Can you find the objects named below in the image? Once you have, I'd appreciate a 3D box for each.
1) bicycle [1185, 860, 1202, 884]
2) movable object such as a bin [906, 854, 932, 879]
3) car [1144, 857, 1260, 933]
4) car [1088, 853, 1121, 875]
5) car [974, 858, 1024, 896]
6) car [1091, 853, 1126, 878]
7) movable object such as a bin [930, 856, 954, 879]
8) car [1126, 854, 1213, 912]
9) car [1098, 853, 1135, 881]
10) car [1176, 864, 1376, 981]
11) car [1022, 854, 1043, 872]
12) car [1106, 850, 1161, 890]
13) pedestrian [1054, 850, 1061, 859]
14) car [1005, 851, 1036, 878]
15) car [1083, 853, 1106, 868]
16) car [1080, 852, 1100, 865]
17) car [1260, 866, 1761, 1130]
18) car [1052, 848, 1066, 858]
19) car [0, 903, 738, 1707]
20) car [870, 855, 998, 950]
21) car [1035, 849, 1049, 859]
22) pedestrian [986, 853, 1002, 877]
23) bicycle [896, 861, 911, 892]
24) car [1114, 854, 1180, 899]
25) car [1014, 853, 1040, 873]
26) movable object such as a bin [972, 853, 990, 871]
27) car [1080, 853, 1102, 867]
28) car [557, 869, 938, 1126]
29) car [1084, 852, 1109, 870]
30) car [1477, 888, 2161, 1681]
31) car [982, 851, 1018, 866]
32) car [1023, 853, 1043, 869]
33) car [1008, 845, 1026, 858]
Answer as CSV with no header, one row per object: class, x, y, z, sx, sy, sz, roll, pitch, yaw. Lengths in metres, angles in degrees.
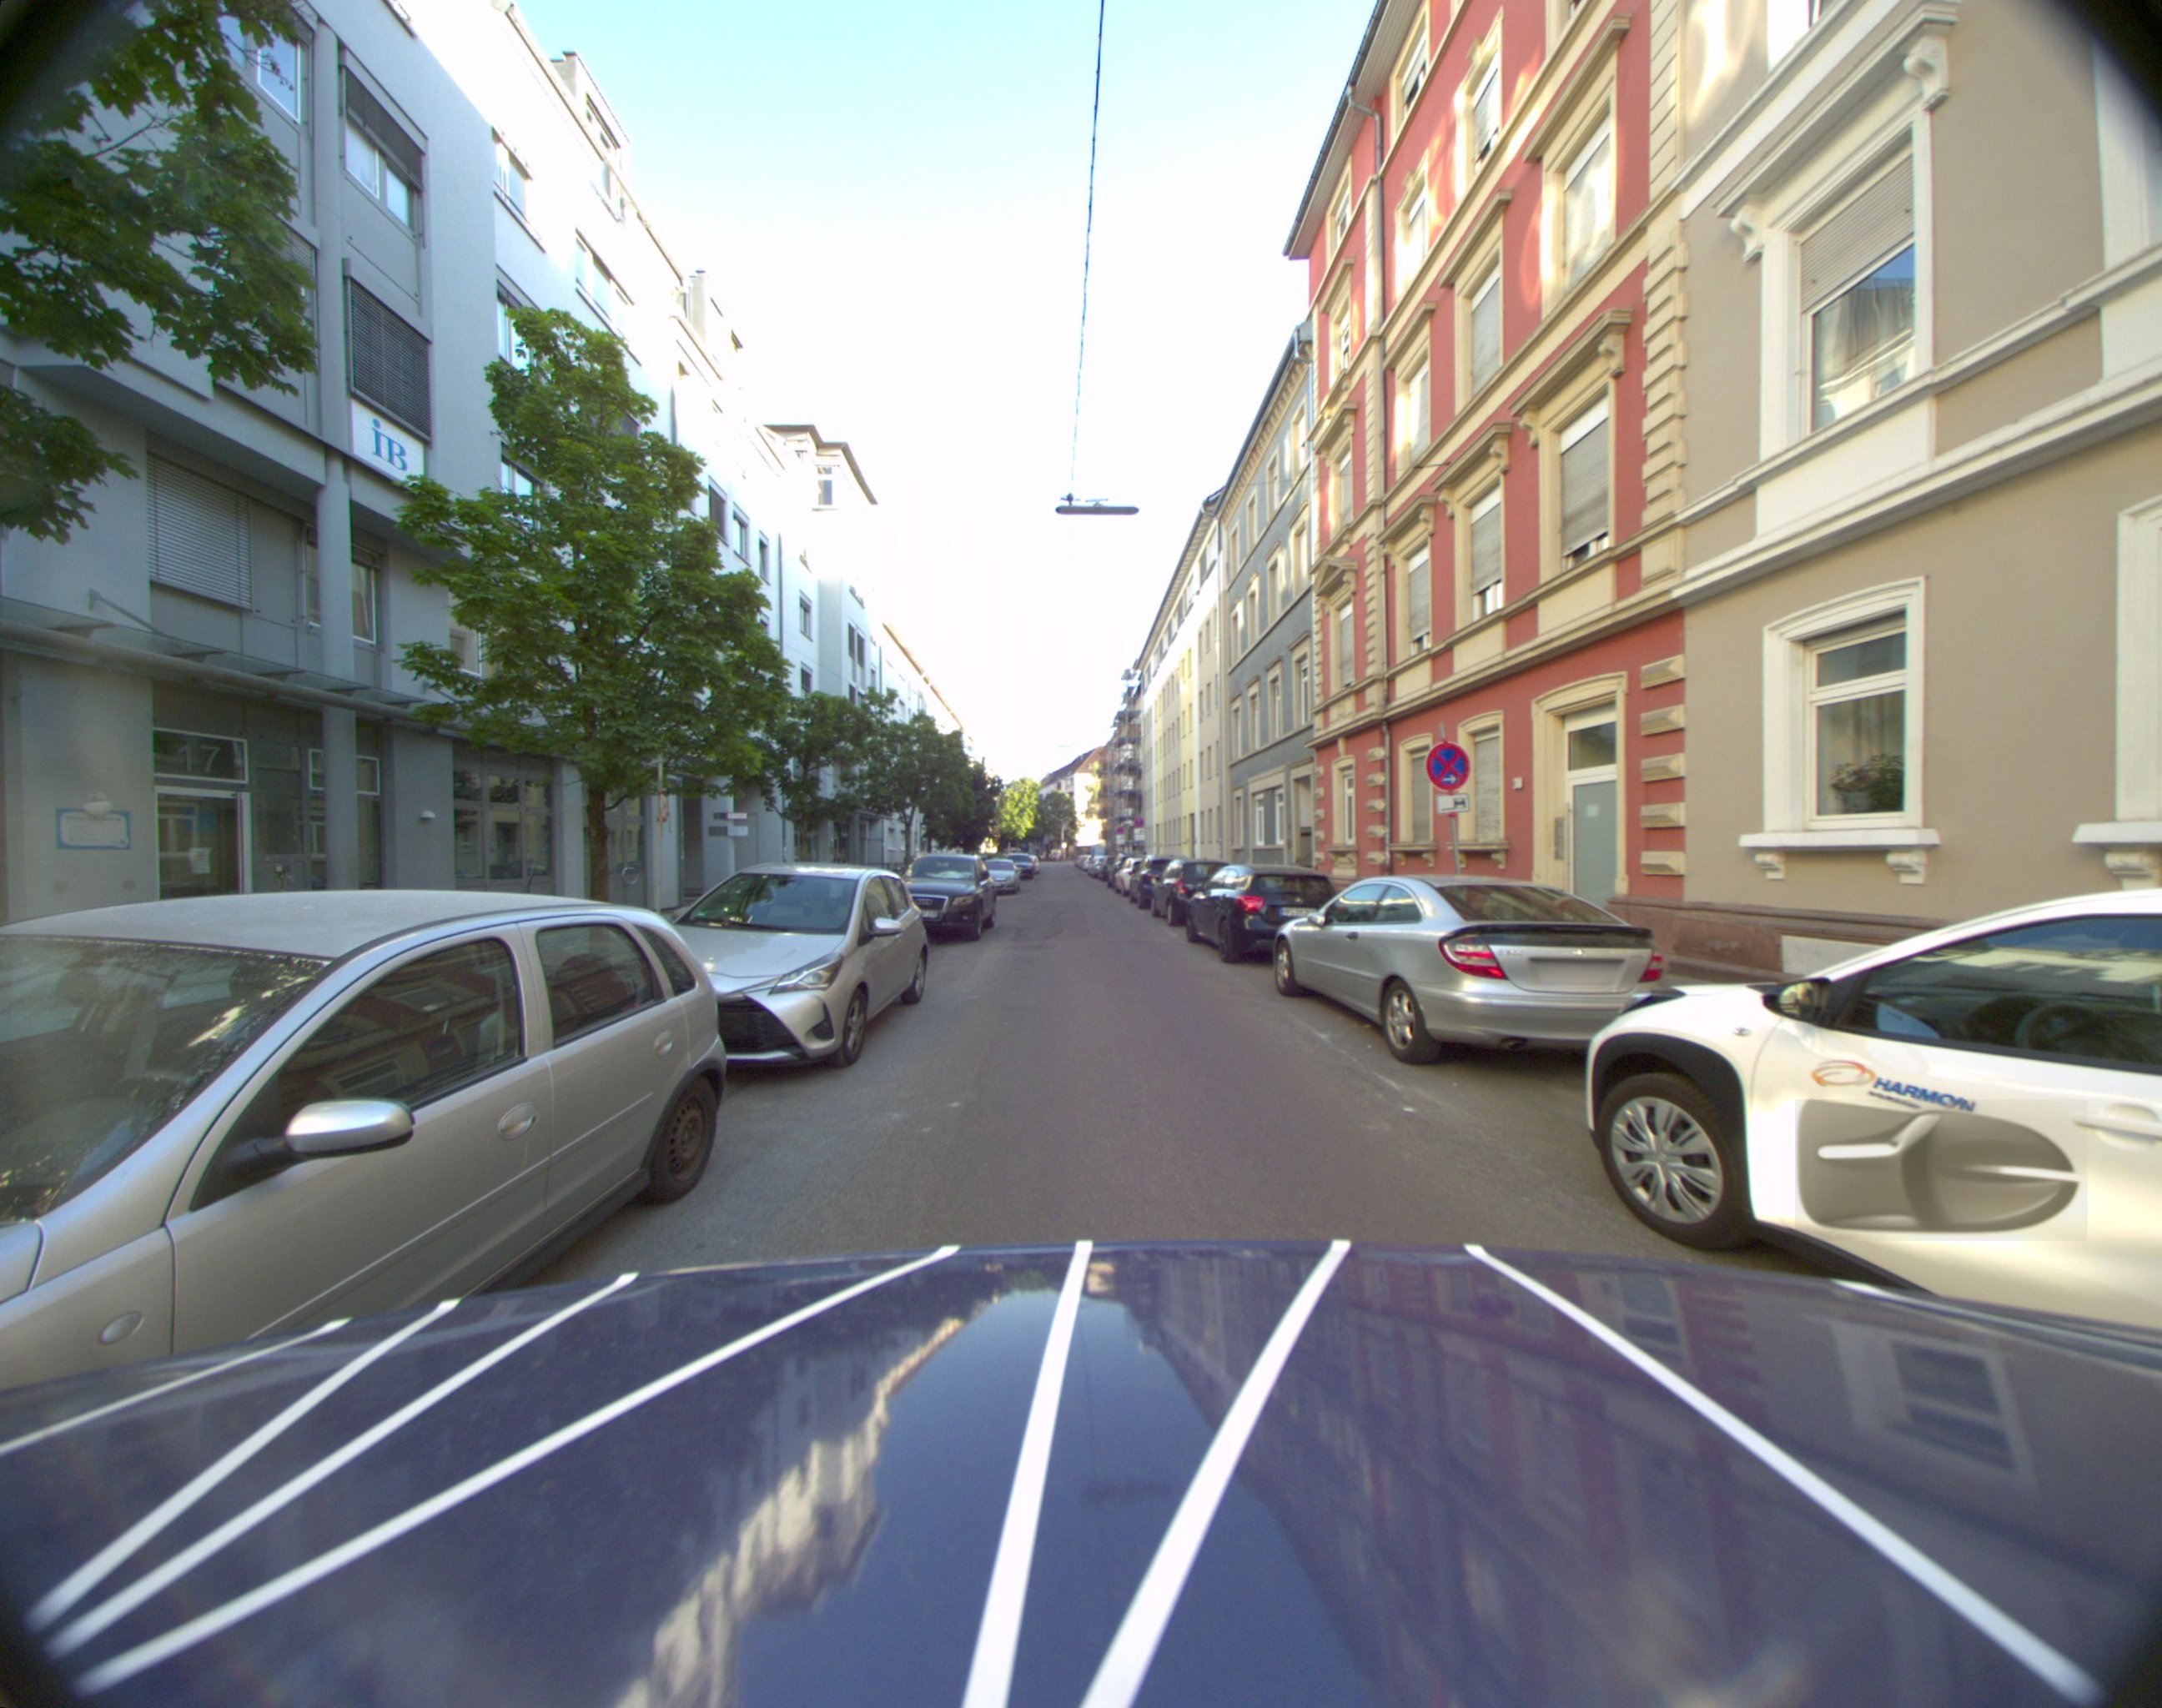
bicycle,5.267,0.829,35.602,0.451,1.068,1.751,-2,1,-1
movable object such as a bin,-9.544,0.715,44.781,1.265,1.428,1.138,0,1,-2
car,2.739,0.881,18.209,1.906,1.551,4.239,1,0,-3
car,1.656,0.680,54.576,1.928,1.480,4.615,1,0,-3
car,-3.393,0.906,32.145,1.768,1.421,4.343,1,0,-2
car,1.729,0.694,49.208,1.928,1.480,4.616,1,0,-2
movable object such as a bin,-8.246,0.775,45.074,1.265,1.313,1.138,0,1,-2
car,2.549,0.798,23.024,1.926,1.551,4.266,1,0,-3
car,2.024,0.721,44.359,1.784,1.480,4.419,1,0,-2
car,2.868,0.947,12.236,1.926,1.475,4.266,1,0,-3
car,-4.082,0.737,64.368,1.681,1.411,4.135,1,0,-2
car,2.288,0.692,34.302,1.926,1.654,4.467,1,0,-3
pedestrian,-3.969,0.125,128.013,0.868,1.455,0.804,1,1,32
car,-3.838,0.649,48.815,1.876,1.626,4.720,1,0,-3
car,1.277,0.619,73.848,1.999,1.439,3.998,1,0,-3
car,0.981,0.509,84.578,1.999,1.423,3.998,1,0,-3
car,3.176,0.934,6.842,1.926,1.551,4.266,1,0,-3
car,-3.850,-0.173,131.736,2.081,1.760,4.214,1,0,-8
car,-2.603,1.003,1.955,1.680,1.467,3.729,1,0,1
car,-2.846,0.865,15.674,1.890,1.613,4.433,1,0,-2
car,-7.612,-0.025,147.624,2.082,1.760,4.214,1,0,-10
pedestrian,-5.345,0.667,46.865,0.803,1.455,0.869,1,1,-18
bicycle,-7.070,0.883,30.318,0.522,1.161,1.738,1,1,-12
car,2.418,0.801,28.925,1.926,1.551,4.266,1,0,-3
car,-4.187,0.684,59.418,1.680,1.474,3.652,1,0,1
movable object such as a bin,-7.797,0.616,59.532,1.288,1.428,1.223,0,1,-2
car,1.028,0.626,79.157,1.999,1.423,3.998,1,0,-3
car,-2.490,0.954,6.812,1.681,1.516,3.970,1,0,0
car,1.360,0.605,69.020,1.999,1.496,3.998,1,0,-3
car,3.167,0.951,2.041,1.925,1.498,4.267,1,0,0
car,-9.330,0.503,87.848,3.998,1.556,1.999,1,1,-4
car,-4.429,0.646,70.548,1.681,1.411,4.134,1,0,-2
car,-11.779,-0.487,140.238,2.163,2.270,6.199,1,0,-15
